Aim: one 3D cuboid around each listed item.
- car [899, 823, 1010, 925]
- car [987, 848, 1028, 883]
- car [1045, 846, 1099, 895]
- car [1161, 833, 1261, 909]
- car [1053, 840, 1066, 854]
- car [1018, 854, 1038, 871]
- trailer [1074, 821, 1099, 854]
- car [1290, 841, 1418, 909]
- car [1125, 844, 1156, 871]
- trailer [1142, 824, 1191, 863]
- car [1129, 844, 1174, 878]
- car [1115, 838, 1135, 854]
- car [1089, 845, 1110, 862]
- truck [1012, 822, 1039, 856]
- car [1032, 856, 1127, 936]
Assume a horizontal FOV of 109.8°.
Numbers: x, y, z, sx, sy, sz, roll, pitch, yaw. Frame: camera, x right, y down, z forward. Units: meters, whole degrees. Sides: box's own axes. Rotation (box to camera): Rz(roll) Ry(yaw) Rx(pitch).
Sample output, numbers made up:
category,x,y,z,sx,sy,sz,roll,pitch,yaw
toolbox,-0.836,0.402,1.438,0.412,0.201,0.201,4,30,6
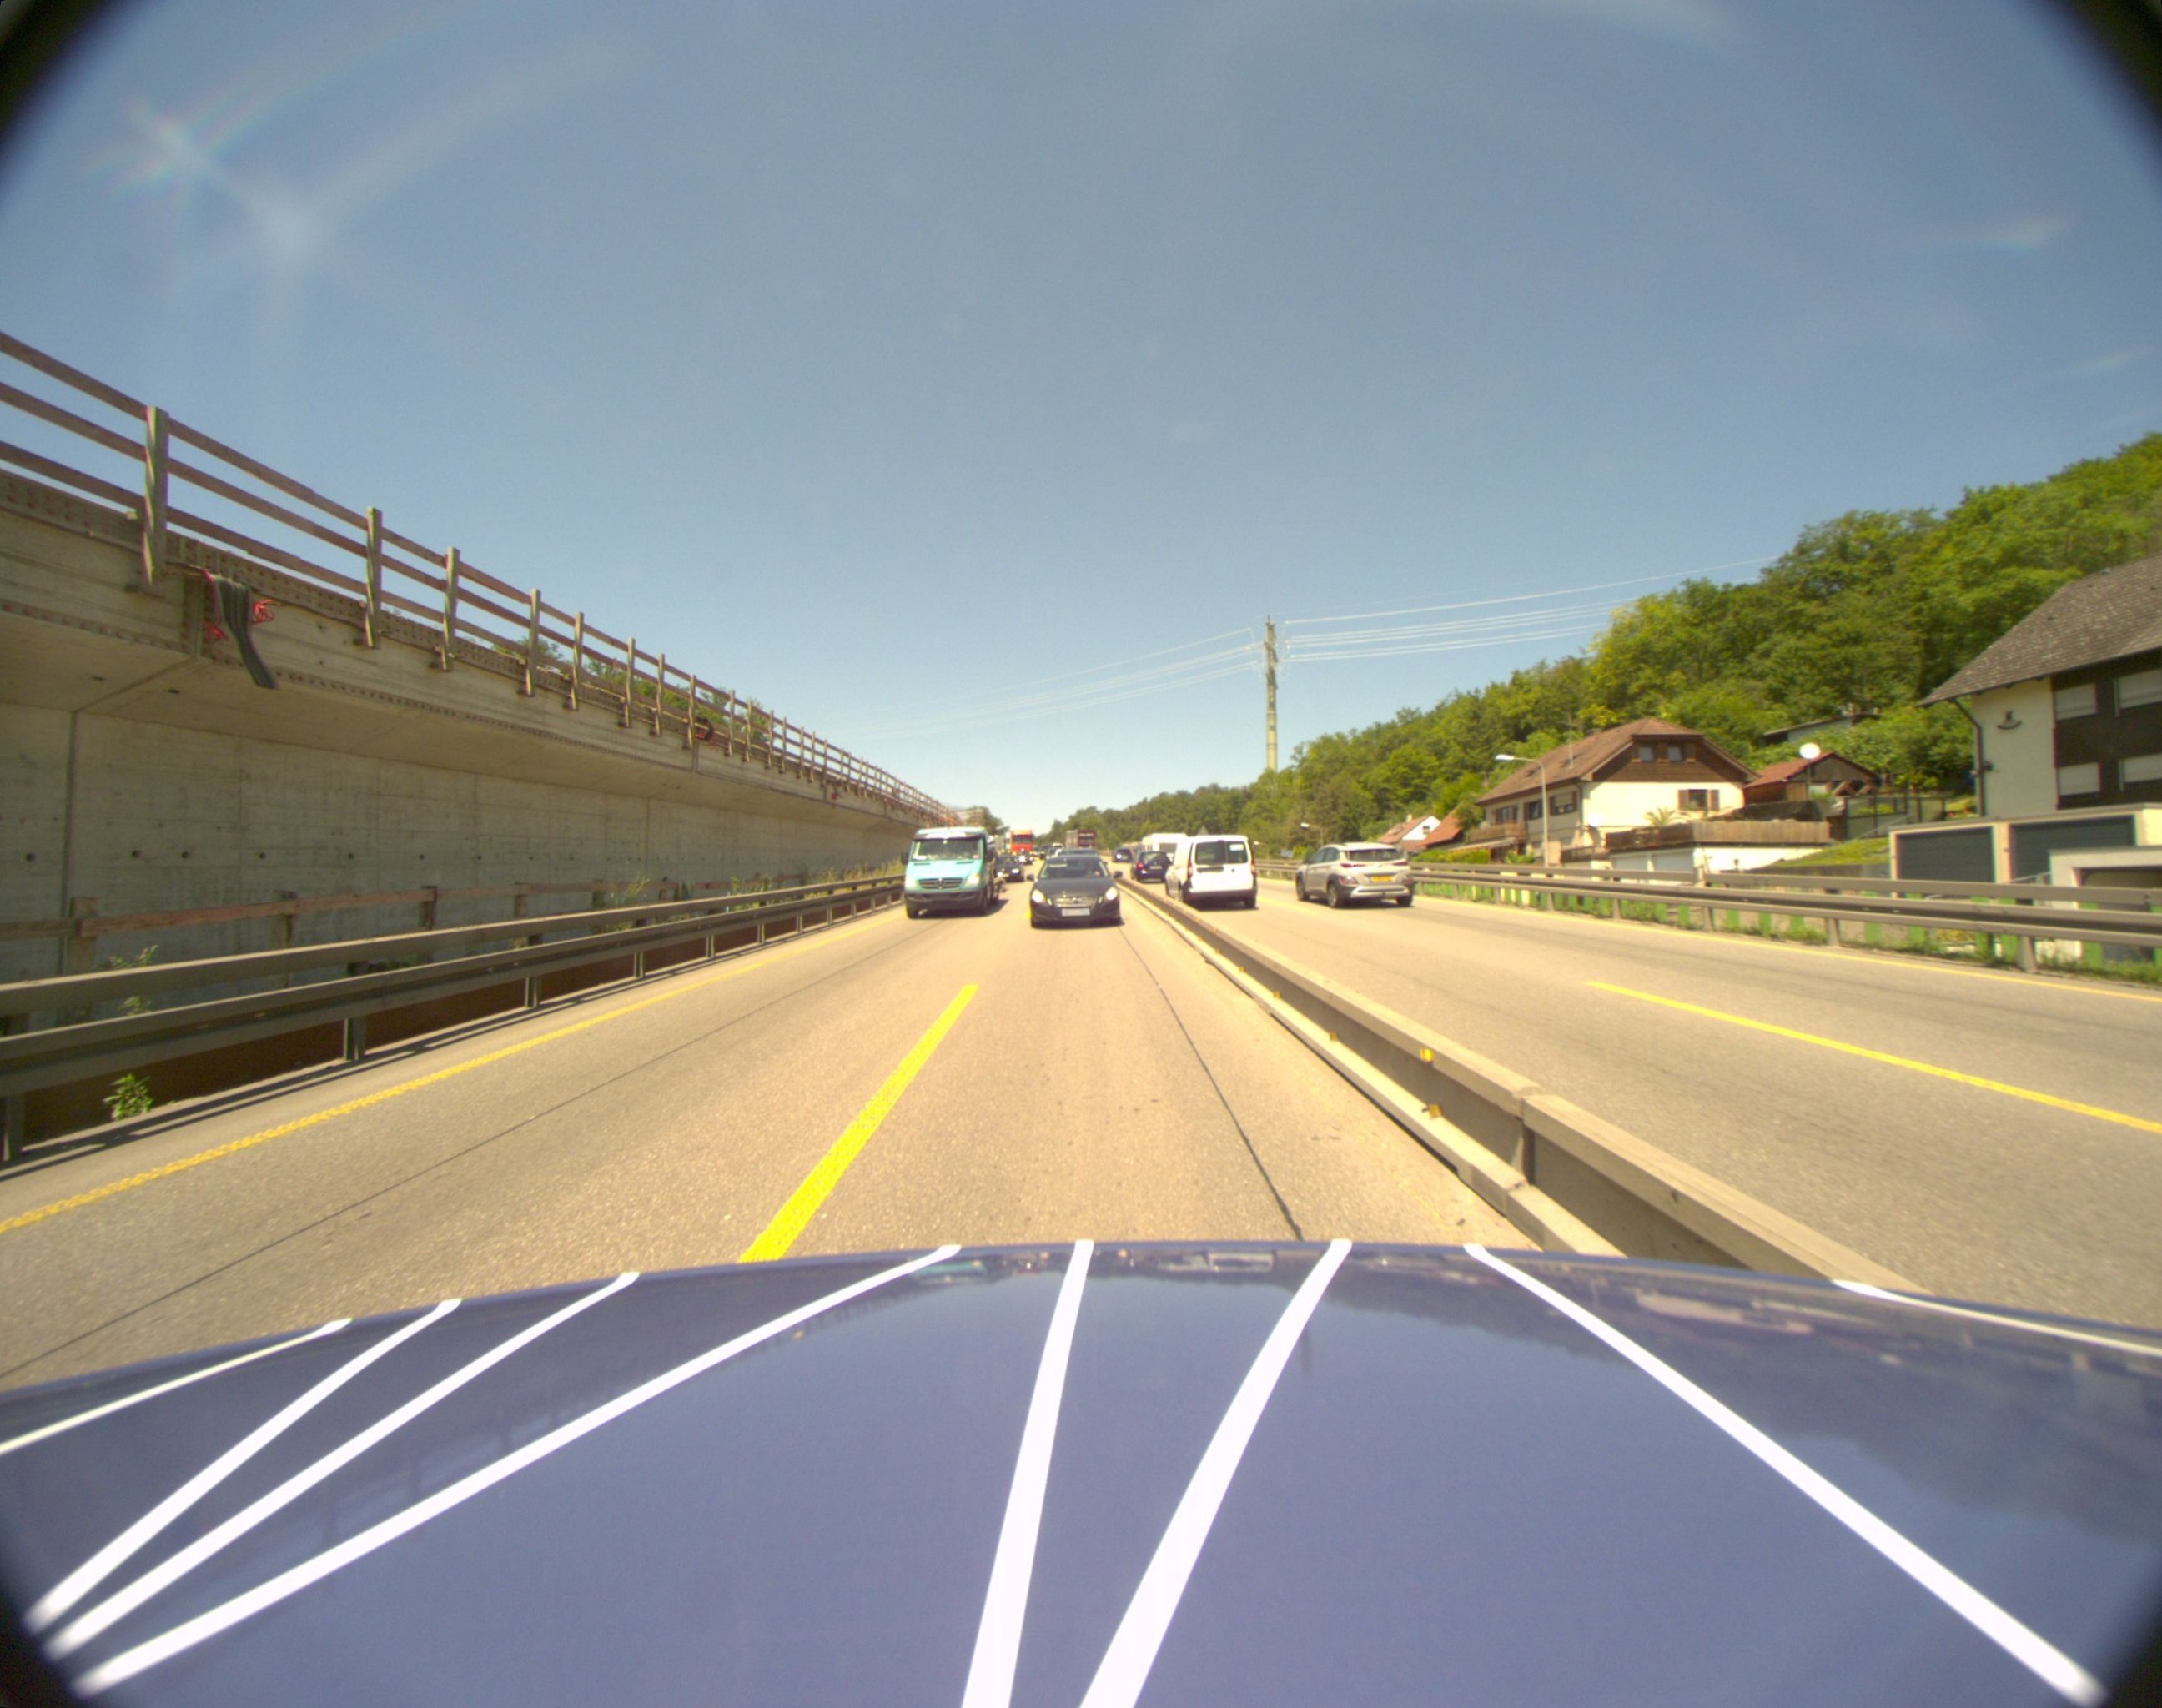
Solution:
category,x,y,z,sx,sy,sz,roll,pitch,yaw
car,-3.330,0.430,21.603,1.968,2.367,7.208,-1,1,-1
car,-3.802,0.568,39.885,1.860,1.650,3.998,-3,1,-2
car,-0.336,0.575,29.180,1.859,1.650,3.999,-3,1,-1
car,3.275,0.386,19.880,1.814,1.730,4.256,-1,1,-1
car,-3.708,-1.229,128.432,1.860,2.138,5.564,-3,1,-4
car,-5.253,0.844,75.641,1.674,1.499,3.648,-3,1,1
trailer,0.707,-2.586,117.980,3.130,4.688,12.073,-3,1,-2
car,6.636,0.440,18.917,1.706,1.471,3.973,-1,1,-1
car,4.838,0.240,62.339,1.999,2.002,4.978,-2,1,-1
trailer,5.964,-0.752,53.741,2.606,2.574,6.239,-2,1,-1
car,3.189,0.274,34.963,1.575,1.453,4.212,-1,1,-1
car,4.431,-0.832,76.914,1.630,1.506,3.854,-2,1,-3
car,1.864,-0.082,77.609,1.802,1.577,4.321,-1,1,-2
truck,-6.953,-1.902,96.541,2.651,3.978,11.193,-3,1,-1
car,-0.086,0.804,16.586,1.793,1.440,4.296,-1,1,-2
